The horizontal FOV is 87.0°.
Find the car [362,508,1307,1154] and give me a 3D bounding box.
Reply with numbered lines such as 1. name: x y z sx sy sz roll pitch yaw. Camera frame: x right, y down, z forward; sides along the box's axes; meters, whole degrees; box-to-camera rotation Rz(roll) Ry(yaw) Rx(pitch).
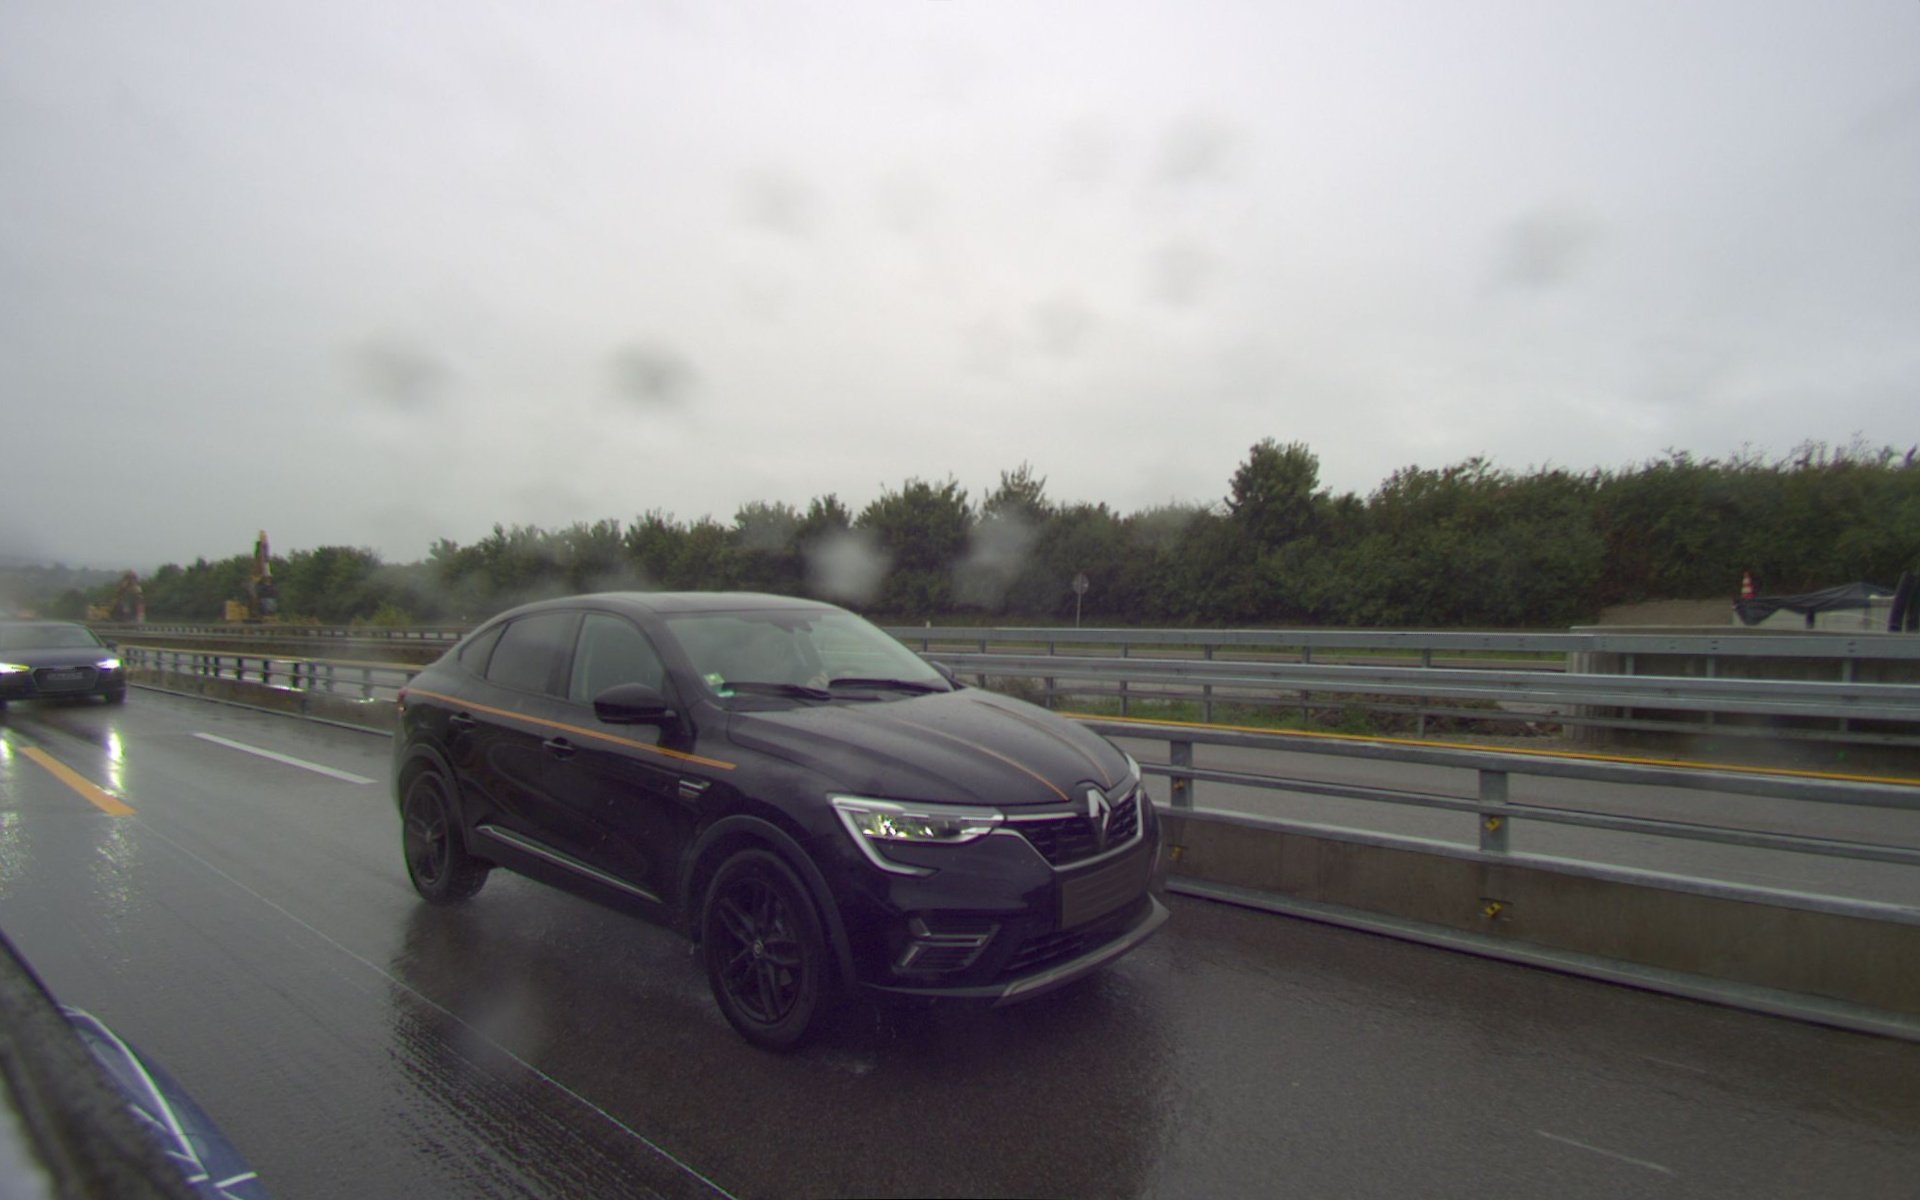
1. car: -0.933 0.587 4.727 4.412 1.597 1.972 -1 0 42

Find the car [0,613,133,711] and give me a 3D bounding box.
1. car: -16.515 1.026 18.137 4.630 1.509 1.972 -1 0 42

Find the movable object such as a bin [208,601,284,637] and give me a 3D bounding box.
1. movable object such as a bin: -59.348 1.564 84.089 6.326 2.819 3.727 -1 0 41

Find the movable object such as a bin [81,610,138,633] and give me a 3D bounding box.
1. movable object such as a bin: -92.006 2.323 109.458 5.087 2.312 3.410 -1 0 34
